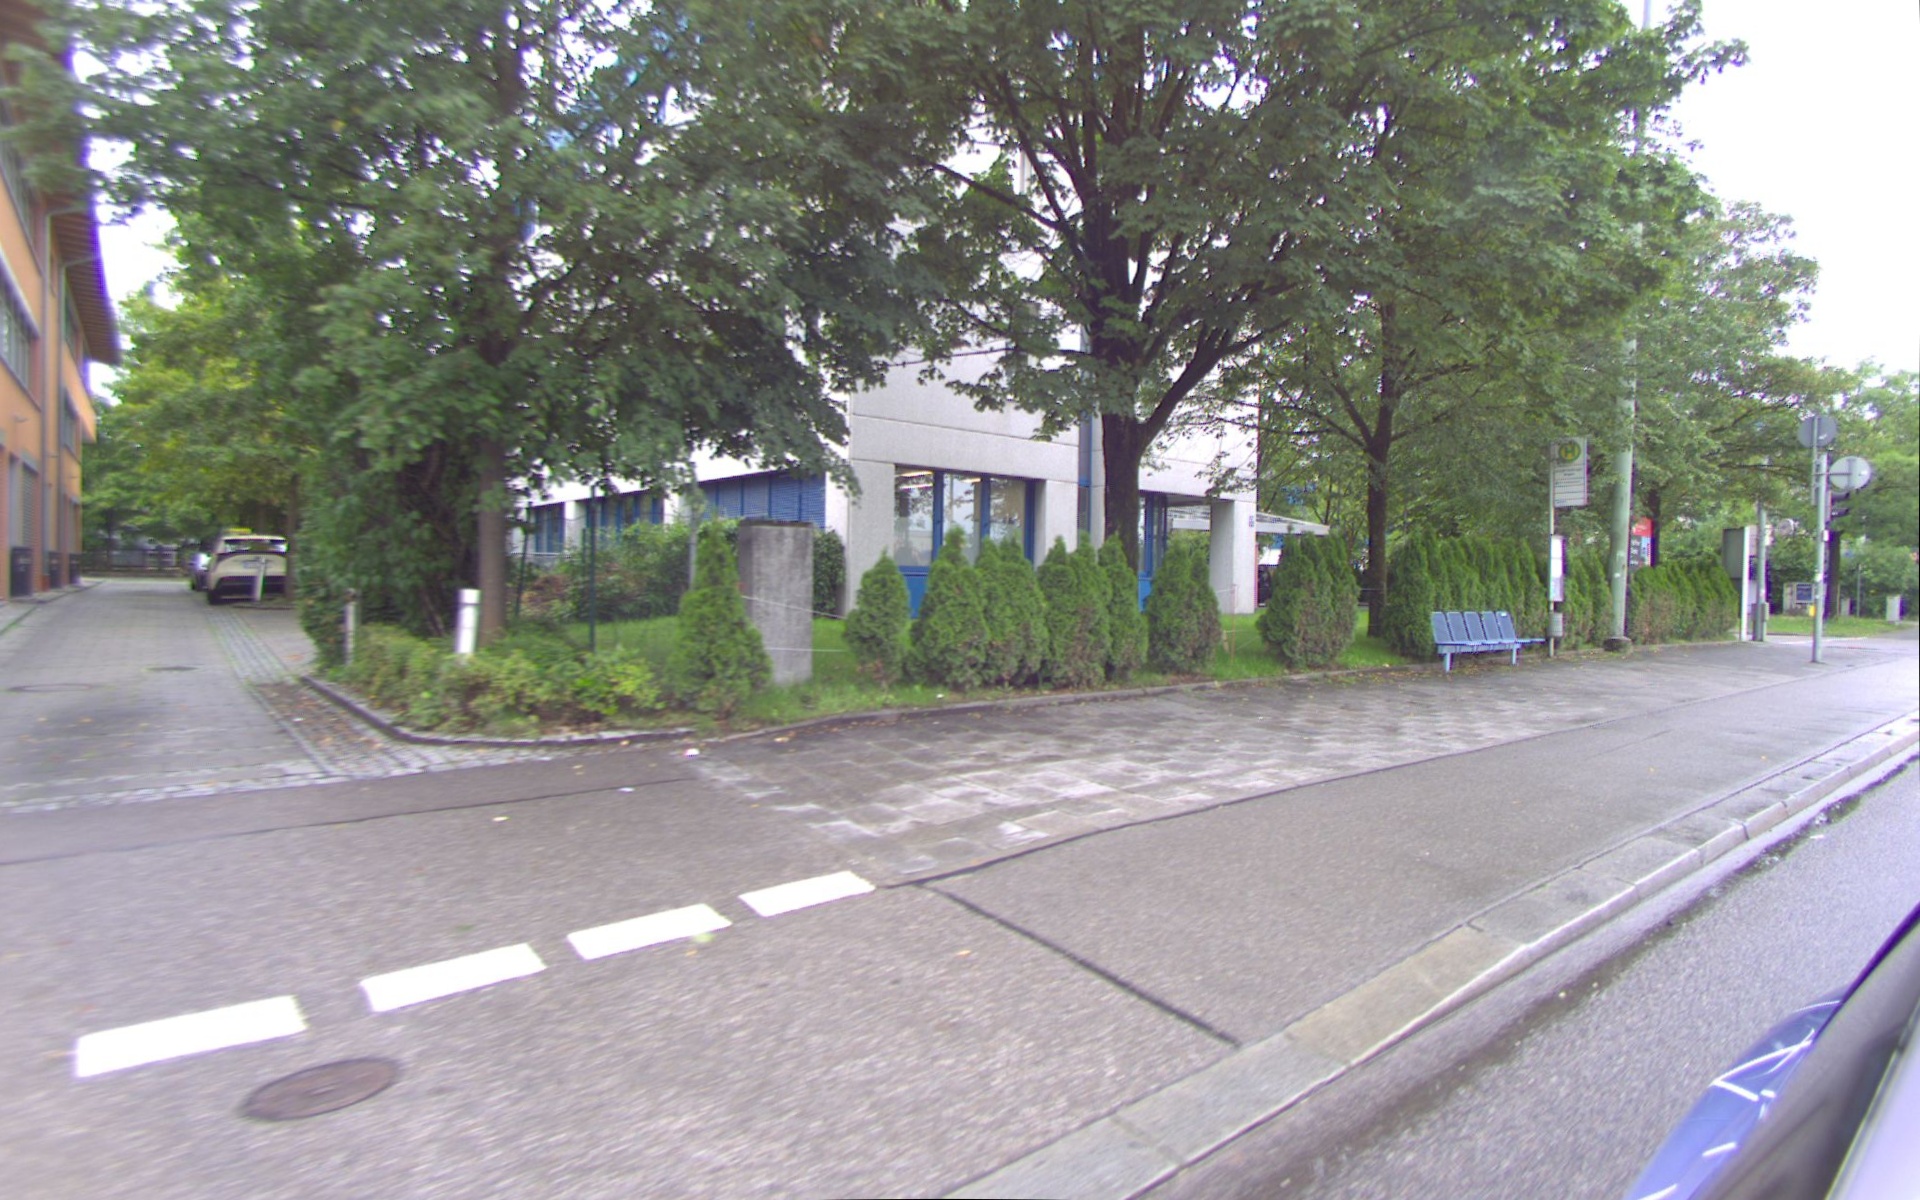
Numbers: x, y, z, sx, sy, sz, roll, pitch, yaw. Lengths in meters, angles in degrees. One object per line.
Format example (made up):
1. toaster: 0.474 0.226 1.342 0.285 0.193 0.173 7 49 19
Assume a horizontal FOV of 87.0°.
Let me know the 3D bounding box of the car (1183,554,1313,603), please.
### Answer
1. car: 9.278 -0.747 32.971 1.830 1.436 4.187 1 3 -22

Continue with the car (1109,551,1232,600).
1. car: 6.701 -0.824 32.693 1.830 1.436 4.187 1 3 -22

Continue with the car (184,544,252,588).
1. car: -27.489 -1.265 37.442 1.737 1.502 3.889 0 3 -41

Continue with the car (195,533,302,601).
1. car: -17.274 -0.839 24.515 1.737 1.502 3.889 0 3 -41
